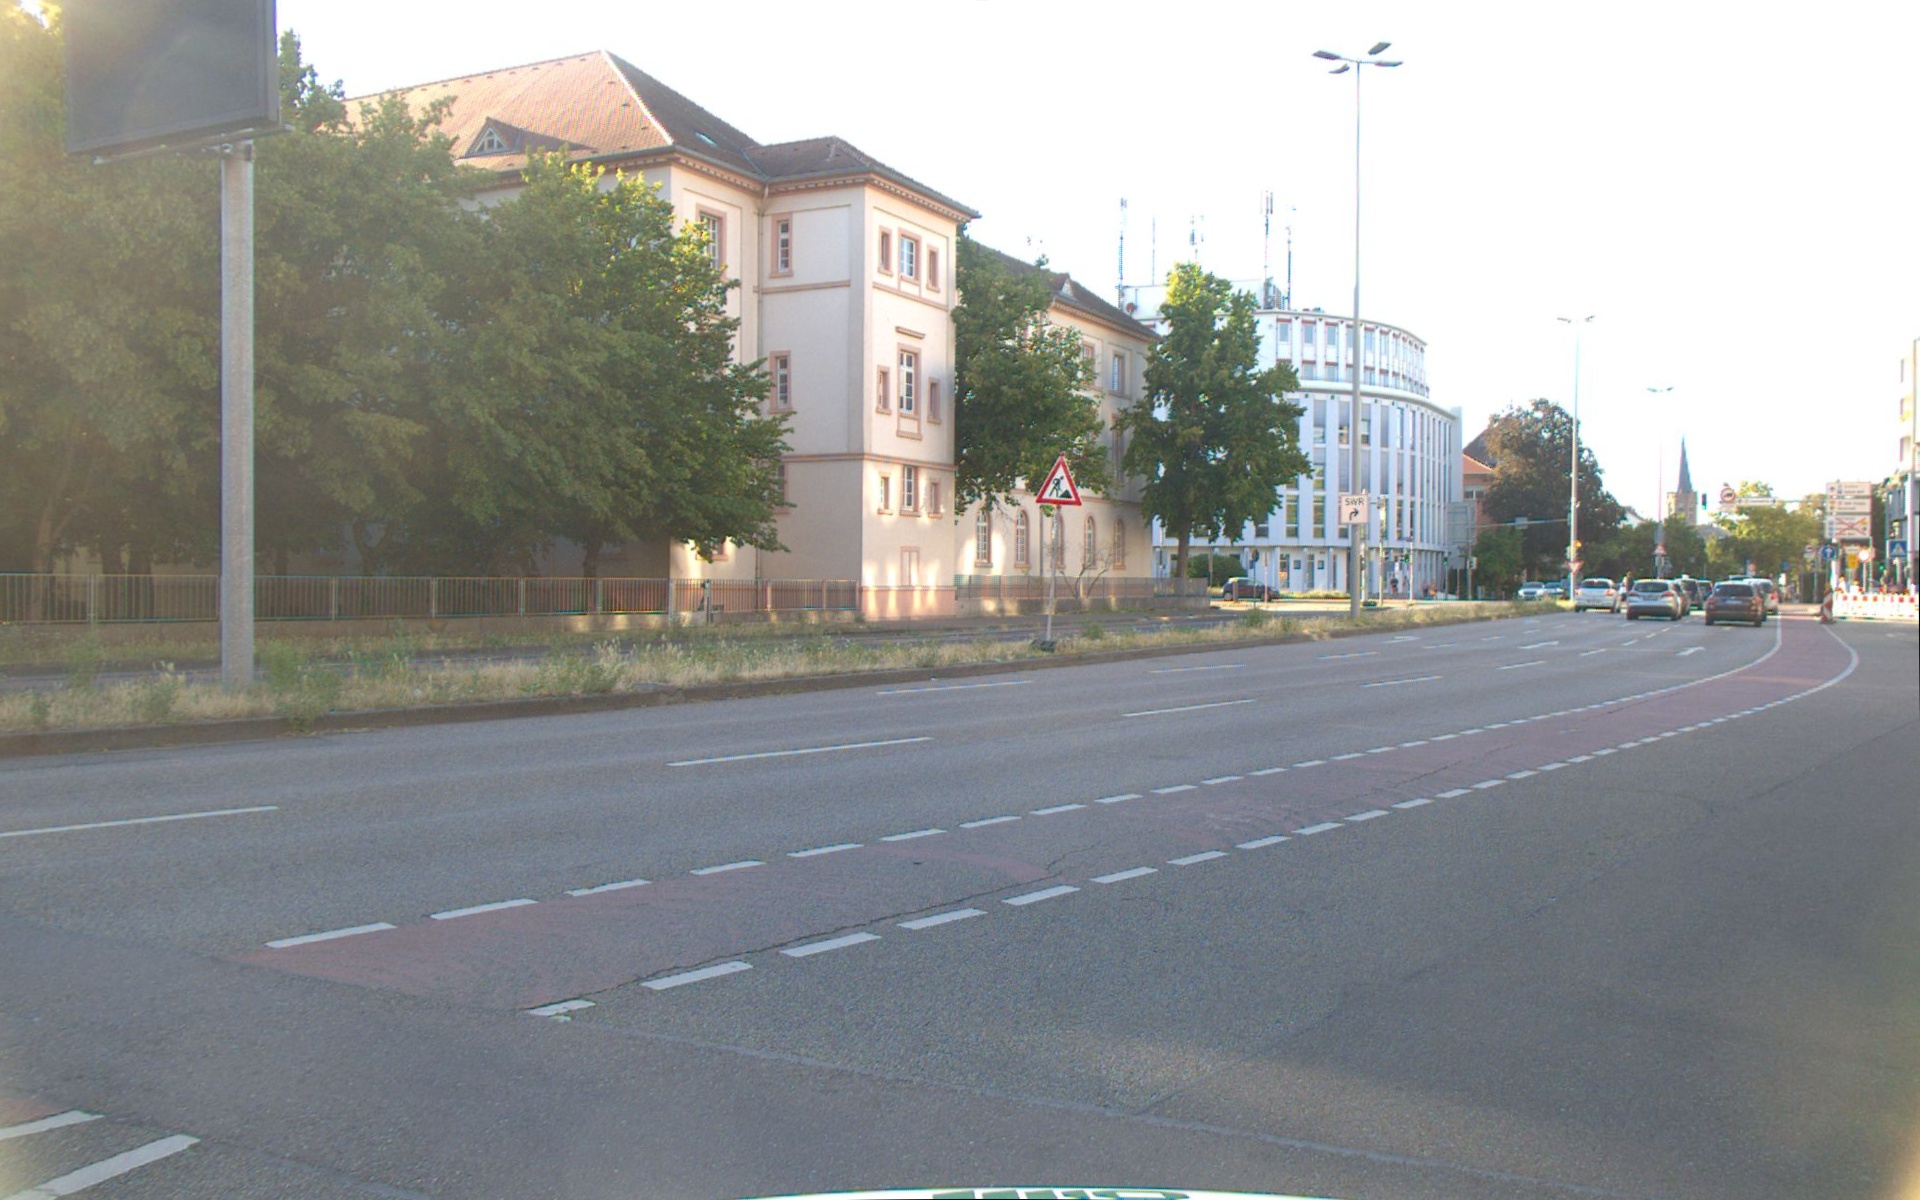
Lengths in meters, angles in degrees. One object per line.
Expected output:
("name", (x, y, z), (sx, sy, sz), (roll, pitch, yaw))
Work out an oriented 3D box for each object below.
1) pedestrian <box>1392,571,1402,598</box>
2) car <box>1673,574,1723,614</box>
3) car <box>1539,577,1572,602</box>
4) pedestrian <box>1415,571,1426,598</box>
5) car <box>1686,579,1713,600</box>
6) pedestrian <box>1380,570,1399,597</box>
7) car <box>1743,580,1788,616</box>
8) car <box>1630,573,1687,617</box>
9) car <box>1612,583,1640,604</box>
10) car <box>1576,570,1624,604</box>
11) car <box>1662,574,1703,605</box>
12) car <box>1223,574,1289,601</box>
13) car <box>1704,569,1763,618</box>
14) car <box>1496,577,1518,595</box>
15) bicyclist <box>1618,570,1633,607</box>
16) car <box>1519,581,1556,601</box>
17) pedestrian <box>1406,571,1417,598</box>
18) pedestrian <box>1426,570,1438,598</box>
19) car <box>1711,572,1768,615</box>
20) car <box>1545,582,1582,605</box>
("pedestrian", (30.652, -1.114, 116.056), (0.646, 1.891, 0.779), (0, 0, 14))
("car", (30.703, -0.267, 68.788), (1.714, 1.591, 4.045), (0, 1, 27))
("car", (46.543, -0.793, 129.232), (1.806, 1.848, 3.993), (-1, -2, 29))
("pedestrian", (31.957, -1.064, 114.790), (0.647, 1.901, 0.778), (0, 0, 25))
("car", (51.491, -0.723, 115.180), (1.557, 1.451, 3.818), (0, 1, 27))
("pedestrian", (32.741, -1.260, 126.003), (1.074, 2.049, 1.031), (0, 0, 37))
("car", (36.891, -0.112, 75.681), (1.695, 1.606, 3.717), (0, 1, 29))
("car", (26.097, -0.212, 61.749), (1.714, 1.591, 4.045), (0, 1, 27))
("car", (48.699, -0.501, 120.905), (1.810, 1.487, 4.048), (0, 1, 23))
("car", (28.986, -0.610, 74.844), (1.652, 1.482, 3.996), (1, 1, 27))
("car", (36.108, -0.524, 82.604), (1.649, 1.530, 3.719), (0, 1, 27))
("car", (18.405, -0.745, 102.776), (3.731, 1.557, 1.862), (-1, -2, 24))
("car", (26.111, -0.241, 55.761), (1.714, 1.591, 4.045), (0, 1, 27))
("car", (49.378, -1.301, 149.258), (1.803, 1.599, 4.001), (0, 1, 19))
("bicyclist", (31.881, -0.573, 79.232), (0.677, 1.758, 0.987), (0, 0, 23))
("car", (42.228, -0.652, 120.915), (1.955, 1.438, 4.438), (-1, 0, 27))
("pedestrian", (31.575, -1.099, 115.657), (0.742, 1.874, 0.819), (0, 0, 17))
("pedestrian", (32.656, -1.113, 114.425), (0.615, 1.901, 1.125), (0, 0, 29))
("car", (29.438, -0.224, 62.403), (1.722, 1.516, 3.716), (-1, -2, 29))
("car", (42.315, -0.487, 115.910), (1.954, 1.605, 4.895), (1, 1, 25))
